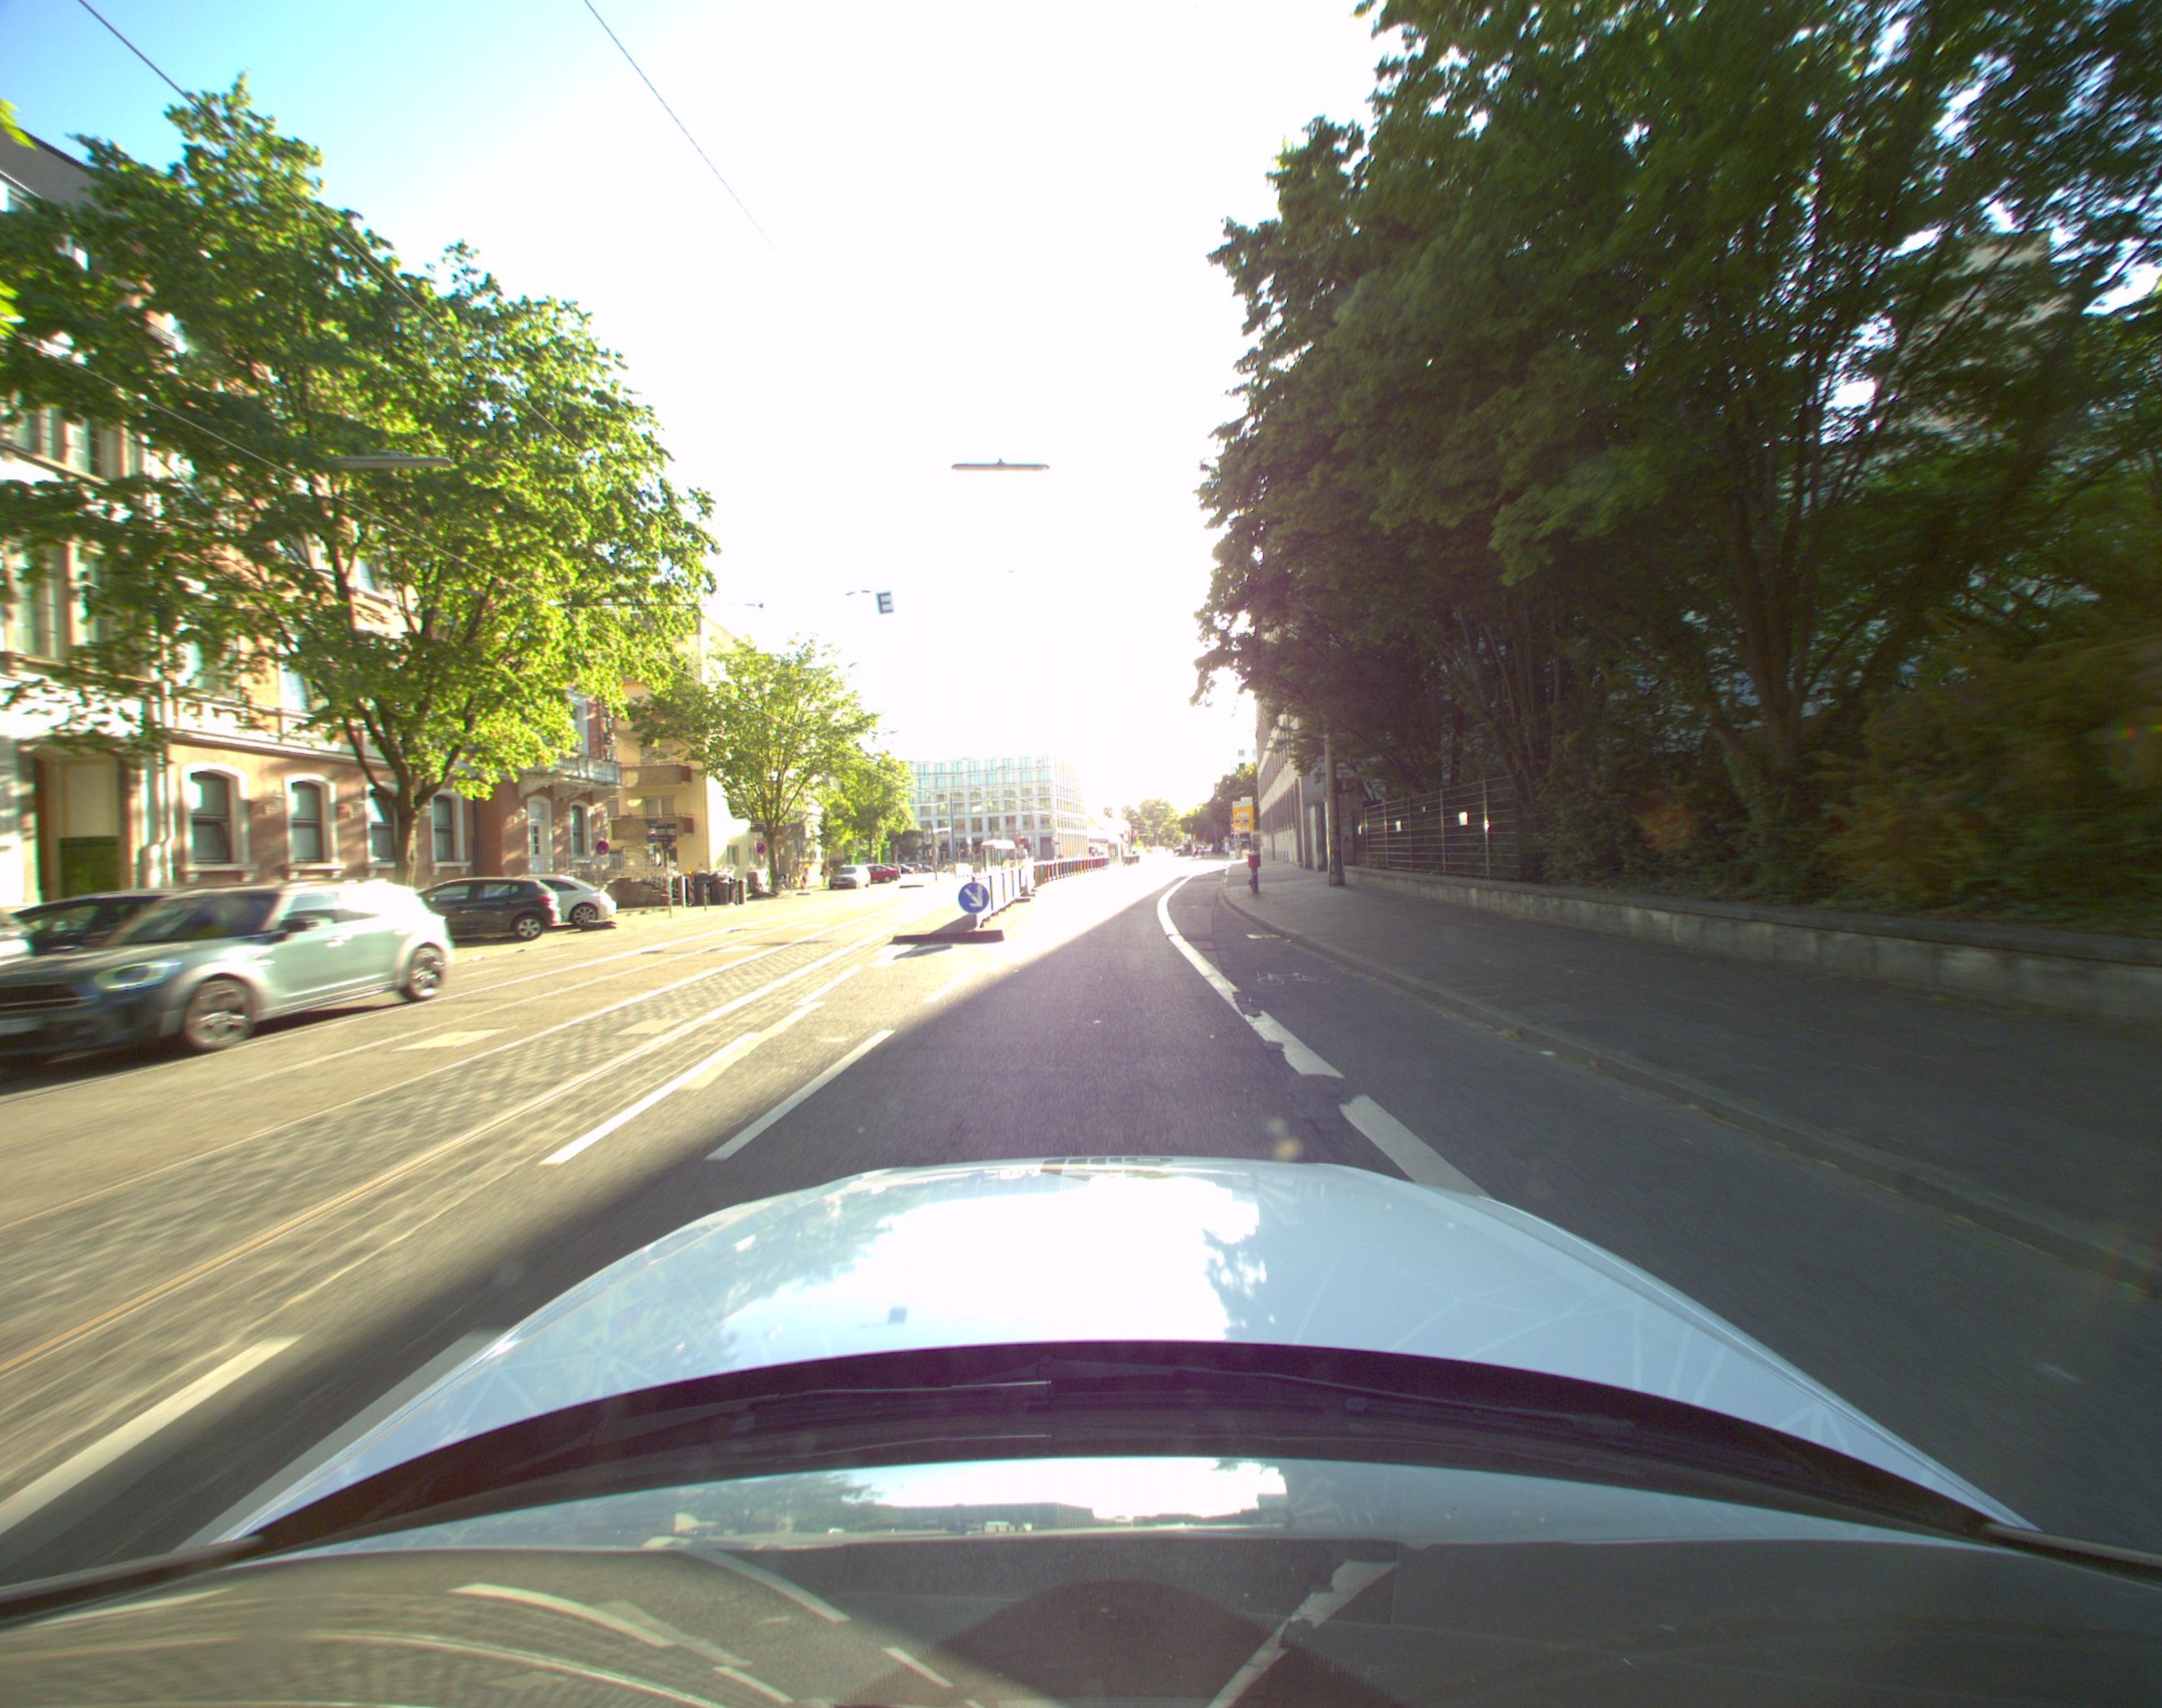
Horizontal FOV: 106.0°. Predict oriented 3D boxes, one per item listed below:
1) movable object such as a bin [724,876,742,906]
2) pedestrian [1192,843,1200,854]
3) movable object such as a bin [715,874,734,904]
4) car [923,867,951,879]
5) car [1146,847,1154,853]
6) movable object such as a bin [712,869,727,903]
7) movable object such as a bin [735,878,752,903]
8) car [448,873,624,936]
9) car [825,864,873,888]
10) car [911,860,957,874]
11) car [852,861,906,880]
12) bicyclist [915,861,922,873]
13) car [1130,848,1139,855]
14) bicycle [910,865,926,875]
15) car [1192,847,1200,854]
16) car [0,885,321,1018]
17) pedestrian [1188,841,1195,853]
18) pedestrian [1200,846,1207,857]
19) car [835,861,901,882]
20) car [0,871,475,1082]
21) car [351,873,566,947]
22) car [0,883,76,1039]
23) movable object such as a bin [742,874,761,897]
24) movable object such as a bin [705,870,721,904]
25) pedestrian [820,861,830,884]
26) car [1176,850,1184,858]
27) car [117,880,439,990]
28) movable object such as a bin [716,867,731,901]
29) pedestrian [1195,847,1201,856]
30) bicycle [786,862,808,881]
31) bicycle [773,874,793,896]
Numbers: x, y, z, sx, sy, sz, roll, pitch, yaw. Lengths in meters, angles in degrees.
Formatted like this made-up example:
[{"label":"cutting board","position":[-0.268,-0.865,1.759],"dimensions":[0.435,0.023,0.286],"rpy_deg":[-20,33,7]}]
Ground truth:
[{"label":"movable object such as a bin","position":[-14.899,1.577,34.869],"dimensions":[0.377,1.241,0.641],"rpy_deg":[-3,0,9]},{"label":"pedestrian","position":[18.332,-0.896,129.581],"dimensions":[0.965,1.784,0.778],"rpy_deg":[-3,0,-6]},{"label":"movable object such as a bin","position":[-14.962,1.479,34.160],"dimensions":[0.377,1.203,0.641],"rpy_deg":[-3,0,9]},{"label":"car","position":[-20.307,2.613,114.600],"dimensions":[3.510,1.506,1.526],"rpy_deg":[-2,0,8]},{"label":"car","position":[20.584,-1.278,242.779],"dimensions":[1.808,1.712,3.817],"rpy_deg":[-3,0,10]},{"label":"movable object such as a bin","position":[-15.583,1.364,35.096],"dimensions":[0.377,1.427,0.387],"rpy_deg":[-3,0,9]},{"label":"movable object such as a bin","position":[-14.782,1.592,35.673],"dimensions":[0.377,1.068,0.641],"rpy_deg":[-3,0,9]},{"label":"car","position":[-15.109,1.336,22.665],"dimensions":[3.936,1.522,1.715],"rpy_deg":[0,0,-40]},{"label":"car","position":[-14.860,1.387,52.332],"dimensions":[1.700,1.410,4.294],"rpy_deg":[-1,0,2]},{"label":"car","position":[-15.449,1.409,85.840],"dimensions":[4.519,1.350,1.578],"rpy_deg":[-1,-1,-23]},{"label":"car","position":[-18.178,1.451,73.140],"dimensions":[4.519,1.570,1.578],"rpy_deg":[-1,-1,-23]},{"label":"bicyclist","position":[-21.777,1.697,109.087],"dimensions":[0.614,1.582,0.596],"rpy_deg":[-3,0,9]},{"label":"car","position":[14.567,-0.628,220.650],"dimensions":[1.808,1.712,3.817],"rpy_deg":[-3,0,10]},{"label":"bicycle","position":[-21.793,2.133,109.102],"dimensions":[1.911,1.122,0.792],"rpy_deg":[-3,0,10]},{"label":"car","position":[24.912,-0.819,176.583],"dimensions":[1.674,1.501,3.519],"rpy_deg":[-1,-1,10]},{"label":"car","position":[-13.913,1.338,11.876],"dimensions":[4.005,1.617,1.616],"rpy_deg":[0,0,-38]},{"label":"pedestrian","position":[17.828,-1.130,131.711],"dimensions":[0.846,1.784,0.778],"rpy_deg":[-3,0,-6]},{"label":"pedestrian","position":[19.687,-0.393,130.766],"dimensions":[0.846,1.784,0.778],"rpy_deg":[-3,0,-6]},{"label":"car","position":[-16.247,1.345,62.051],"dimensions":[4.528,1.425,1.855],"rpy_deg":[-1,-1,-29]},{"label":"car","position":[-9.153,1.091,8.977],"dimensions":[1.868,1.601,4.418],"rpy_deg":[-3,0,-6]},{"label":"car","position":[-14.690,1.261,19.501],"dimensions":[3.938,1.508,1.671],"rpy_deg":[0,0,-34]},{"label":"car","position":[-14.229,1.196,8.533],"dimensions":[4.303,1.723,1.689],"rpy_deg":[1,-2,-34]},{"label":"movable object such as a bin","position":[-16.965,1.624,41.940],"dimensions":[0.423,1.126,1.148],"rpy_deg":[-3,0,4]},{"label":"movable object such as a bin","position":[-15.651,1.411,34.644],"dimensions":[0.377,1.427,0.389],"rpy_deg":[-3,0,9]},{"label":"pedestrian","position":[-19.197,1.360,61.052],"dimensions":[0.509,1.671,0.490],"rpy_deg":[-3,0,3]},{"label":"car","position":[22.701,0.083,187.032],"dimensions":[1.674,1.737,3.519],"rpy_deg":[-1,-1,10]},{"label":"car","position":[-14.241,1.347,14.824],"dimensions":[4.005,1.617,1.616],"rpy_deg":[0,0,-38]},{"label":"movable object such as a bin","position":[-15.567,1.313,35.501],"dimensions":[0.377,1.427,0.389],"rpy_deg":[-3,0,9]},{"label":"pedestrian","position":[18.983,-0.407,131.739],"dimensions":[0.761,1.558,0.586],"rpy_deg":[-3,0,-6]},{"label":"bicycle","position":[-21.403,1.307,61.490],"dimensions":[0.715,1.398,3.006],"rpy_deg":[-3,0,-4]},{"label":"bicycle","position":[-15.573,1.615,42.615],"dimensions":[0.262,1.116,1.409],"rpy_deg":[-3,0,10]}]
